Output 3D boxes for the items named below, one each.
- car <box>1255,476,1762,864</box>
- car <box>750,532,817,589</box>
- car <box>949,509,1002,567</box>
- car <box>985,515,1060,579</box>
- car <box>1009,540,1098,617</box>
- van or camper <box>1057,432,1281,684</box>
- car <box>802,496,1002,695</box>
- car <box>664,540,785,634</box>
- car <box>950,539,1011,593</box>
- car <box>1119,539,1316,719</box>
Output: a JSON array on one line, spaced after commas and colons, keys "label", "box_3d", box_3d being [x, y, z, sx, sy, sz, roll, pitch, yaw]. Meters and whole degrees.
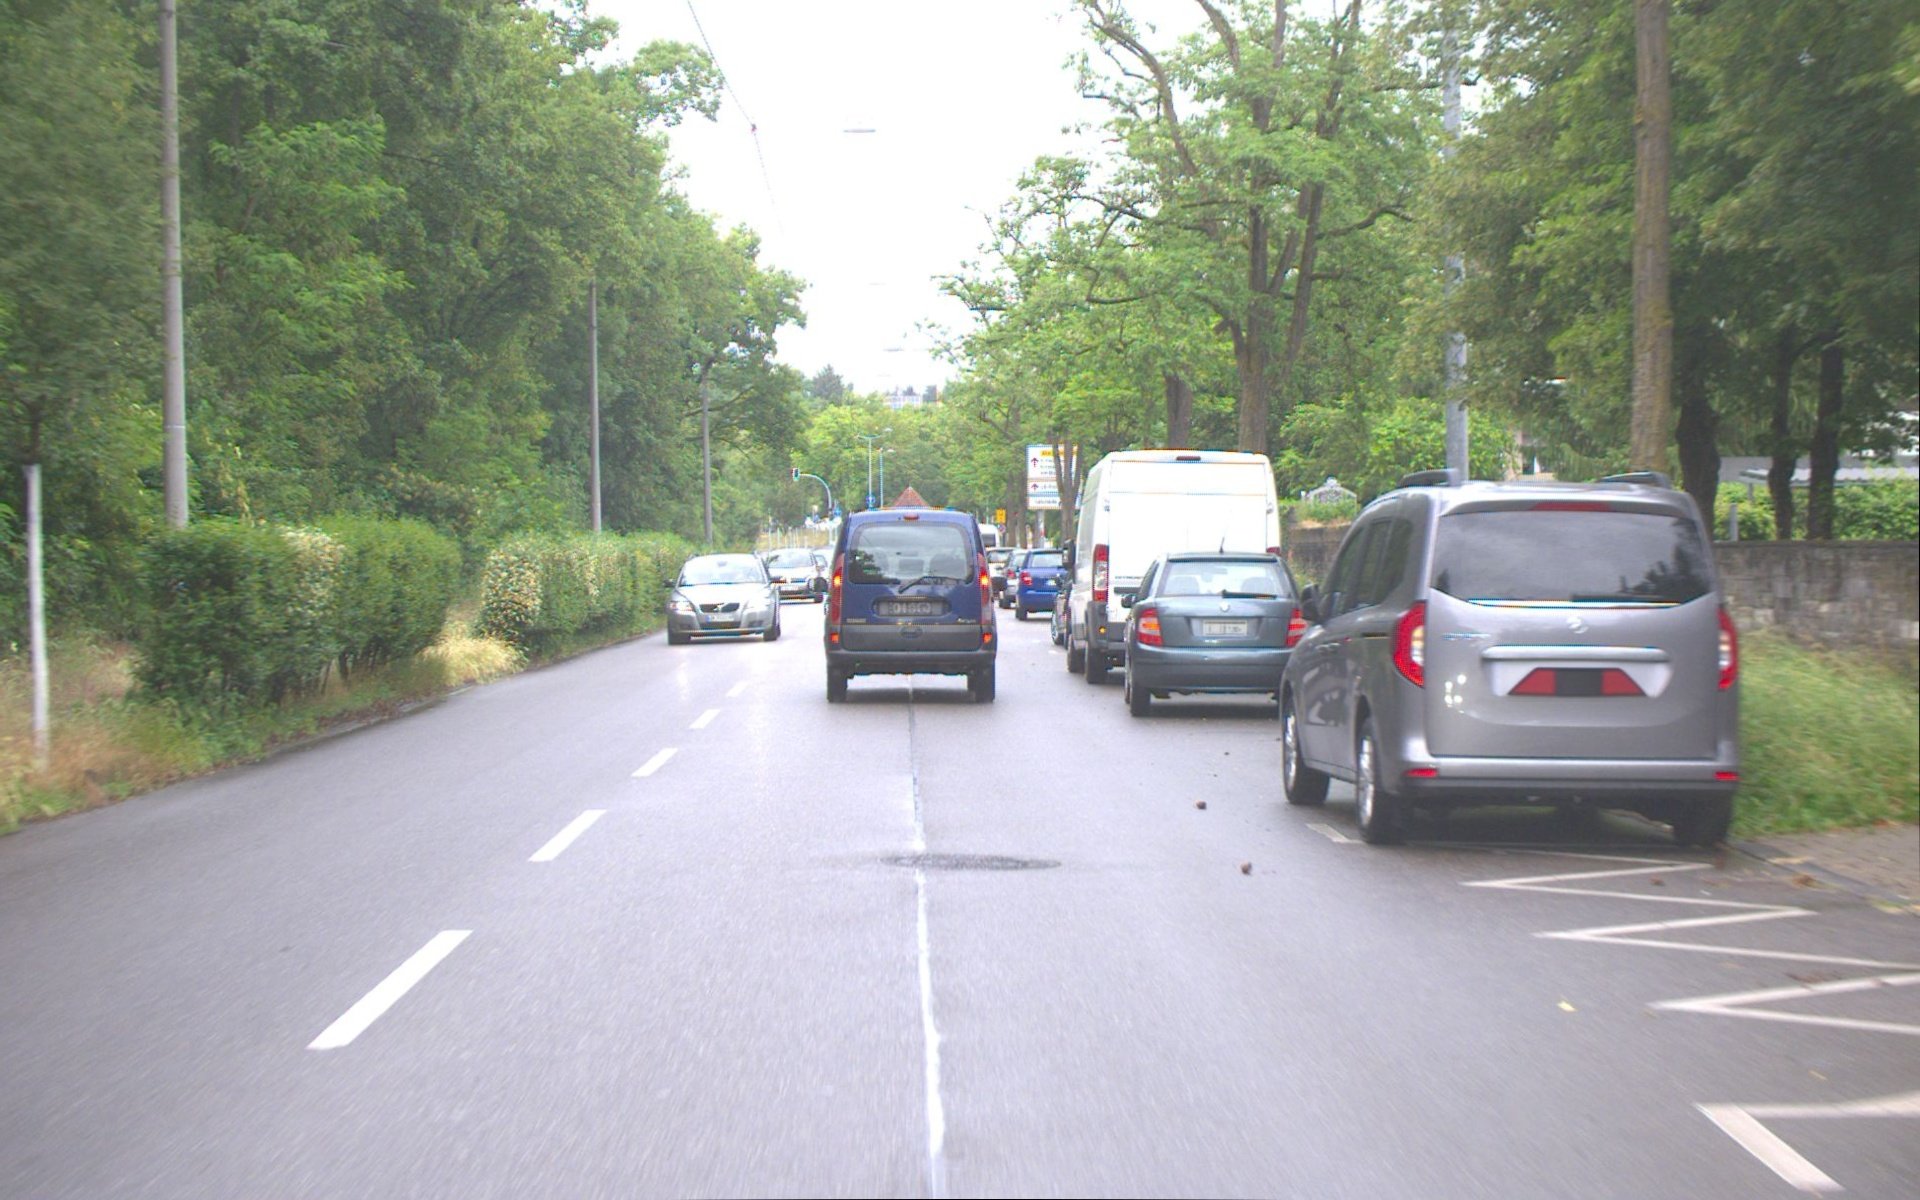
[{"label": "car", "box_3d": [2.766, 0.266, 18.317, 1.814, 1.807, 4.283, 1, 2, -3]}, {"label": "car", "box_3d": [-4.973, -1.136, 97.262, 1.730, 1.487, 4.001, -2, 2, -1]}, {"label": "car", "box_3d": [0.656, -2.680, 148.950, 2.205, 2.441, 4.729, -1, 1, -1]}, {"label": "car", "box_3d": [1.525, -1.331, 84.750, 1.618, 1.503, 3.835, 1, 2, -2]}, {"label": "car", "box_3d": [1.929, -0.475, 71.937, 1.721, 1.500, 4.050, 1, 2, 0]}, {"label": "van or camper", "box_3d": [2.284, -0.525, 39.009, 2.078, 2.641, 5.346, 1, 2, -1]}, {"label": "car", "box_3d": [-0.616, -0.095, 33.669, 1.766, 1.824, 3.543, 1, 2, -4]}, {"label": "car", "box_3d": [-3.863, -0.211, 56.915, 1.783, 1.474, 3.968, -1, 0, -1]}, {"label": "car", "box_3d": [0.589, -1.014, 101.006, 1.632, 1.504, 2.958, 1, 2, -2]}, {"label": "car", "box_3d": [2.277, 0.215, 31.148, 1.626, 1.459, 3.808, 1, 2, 2]}]
